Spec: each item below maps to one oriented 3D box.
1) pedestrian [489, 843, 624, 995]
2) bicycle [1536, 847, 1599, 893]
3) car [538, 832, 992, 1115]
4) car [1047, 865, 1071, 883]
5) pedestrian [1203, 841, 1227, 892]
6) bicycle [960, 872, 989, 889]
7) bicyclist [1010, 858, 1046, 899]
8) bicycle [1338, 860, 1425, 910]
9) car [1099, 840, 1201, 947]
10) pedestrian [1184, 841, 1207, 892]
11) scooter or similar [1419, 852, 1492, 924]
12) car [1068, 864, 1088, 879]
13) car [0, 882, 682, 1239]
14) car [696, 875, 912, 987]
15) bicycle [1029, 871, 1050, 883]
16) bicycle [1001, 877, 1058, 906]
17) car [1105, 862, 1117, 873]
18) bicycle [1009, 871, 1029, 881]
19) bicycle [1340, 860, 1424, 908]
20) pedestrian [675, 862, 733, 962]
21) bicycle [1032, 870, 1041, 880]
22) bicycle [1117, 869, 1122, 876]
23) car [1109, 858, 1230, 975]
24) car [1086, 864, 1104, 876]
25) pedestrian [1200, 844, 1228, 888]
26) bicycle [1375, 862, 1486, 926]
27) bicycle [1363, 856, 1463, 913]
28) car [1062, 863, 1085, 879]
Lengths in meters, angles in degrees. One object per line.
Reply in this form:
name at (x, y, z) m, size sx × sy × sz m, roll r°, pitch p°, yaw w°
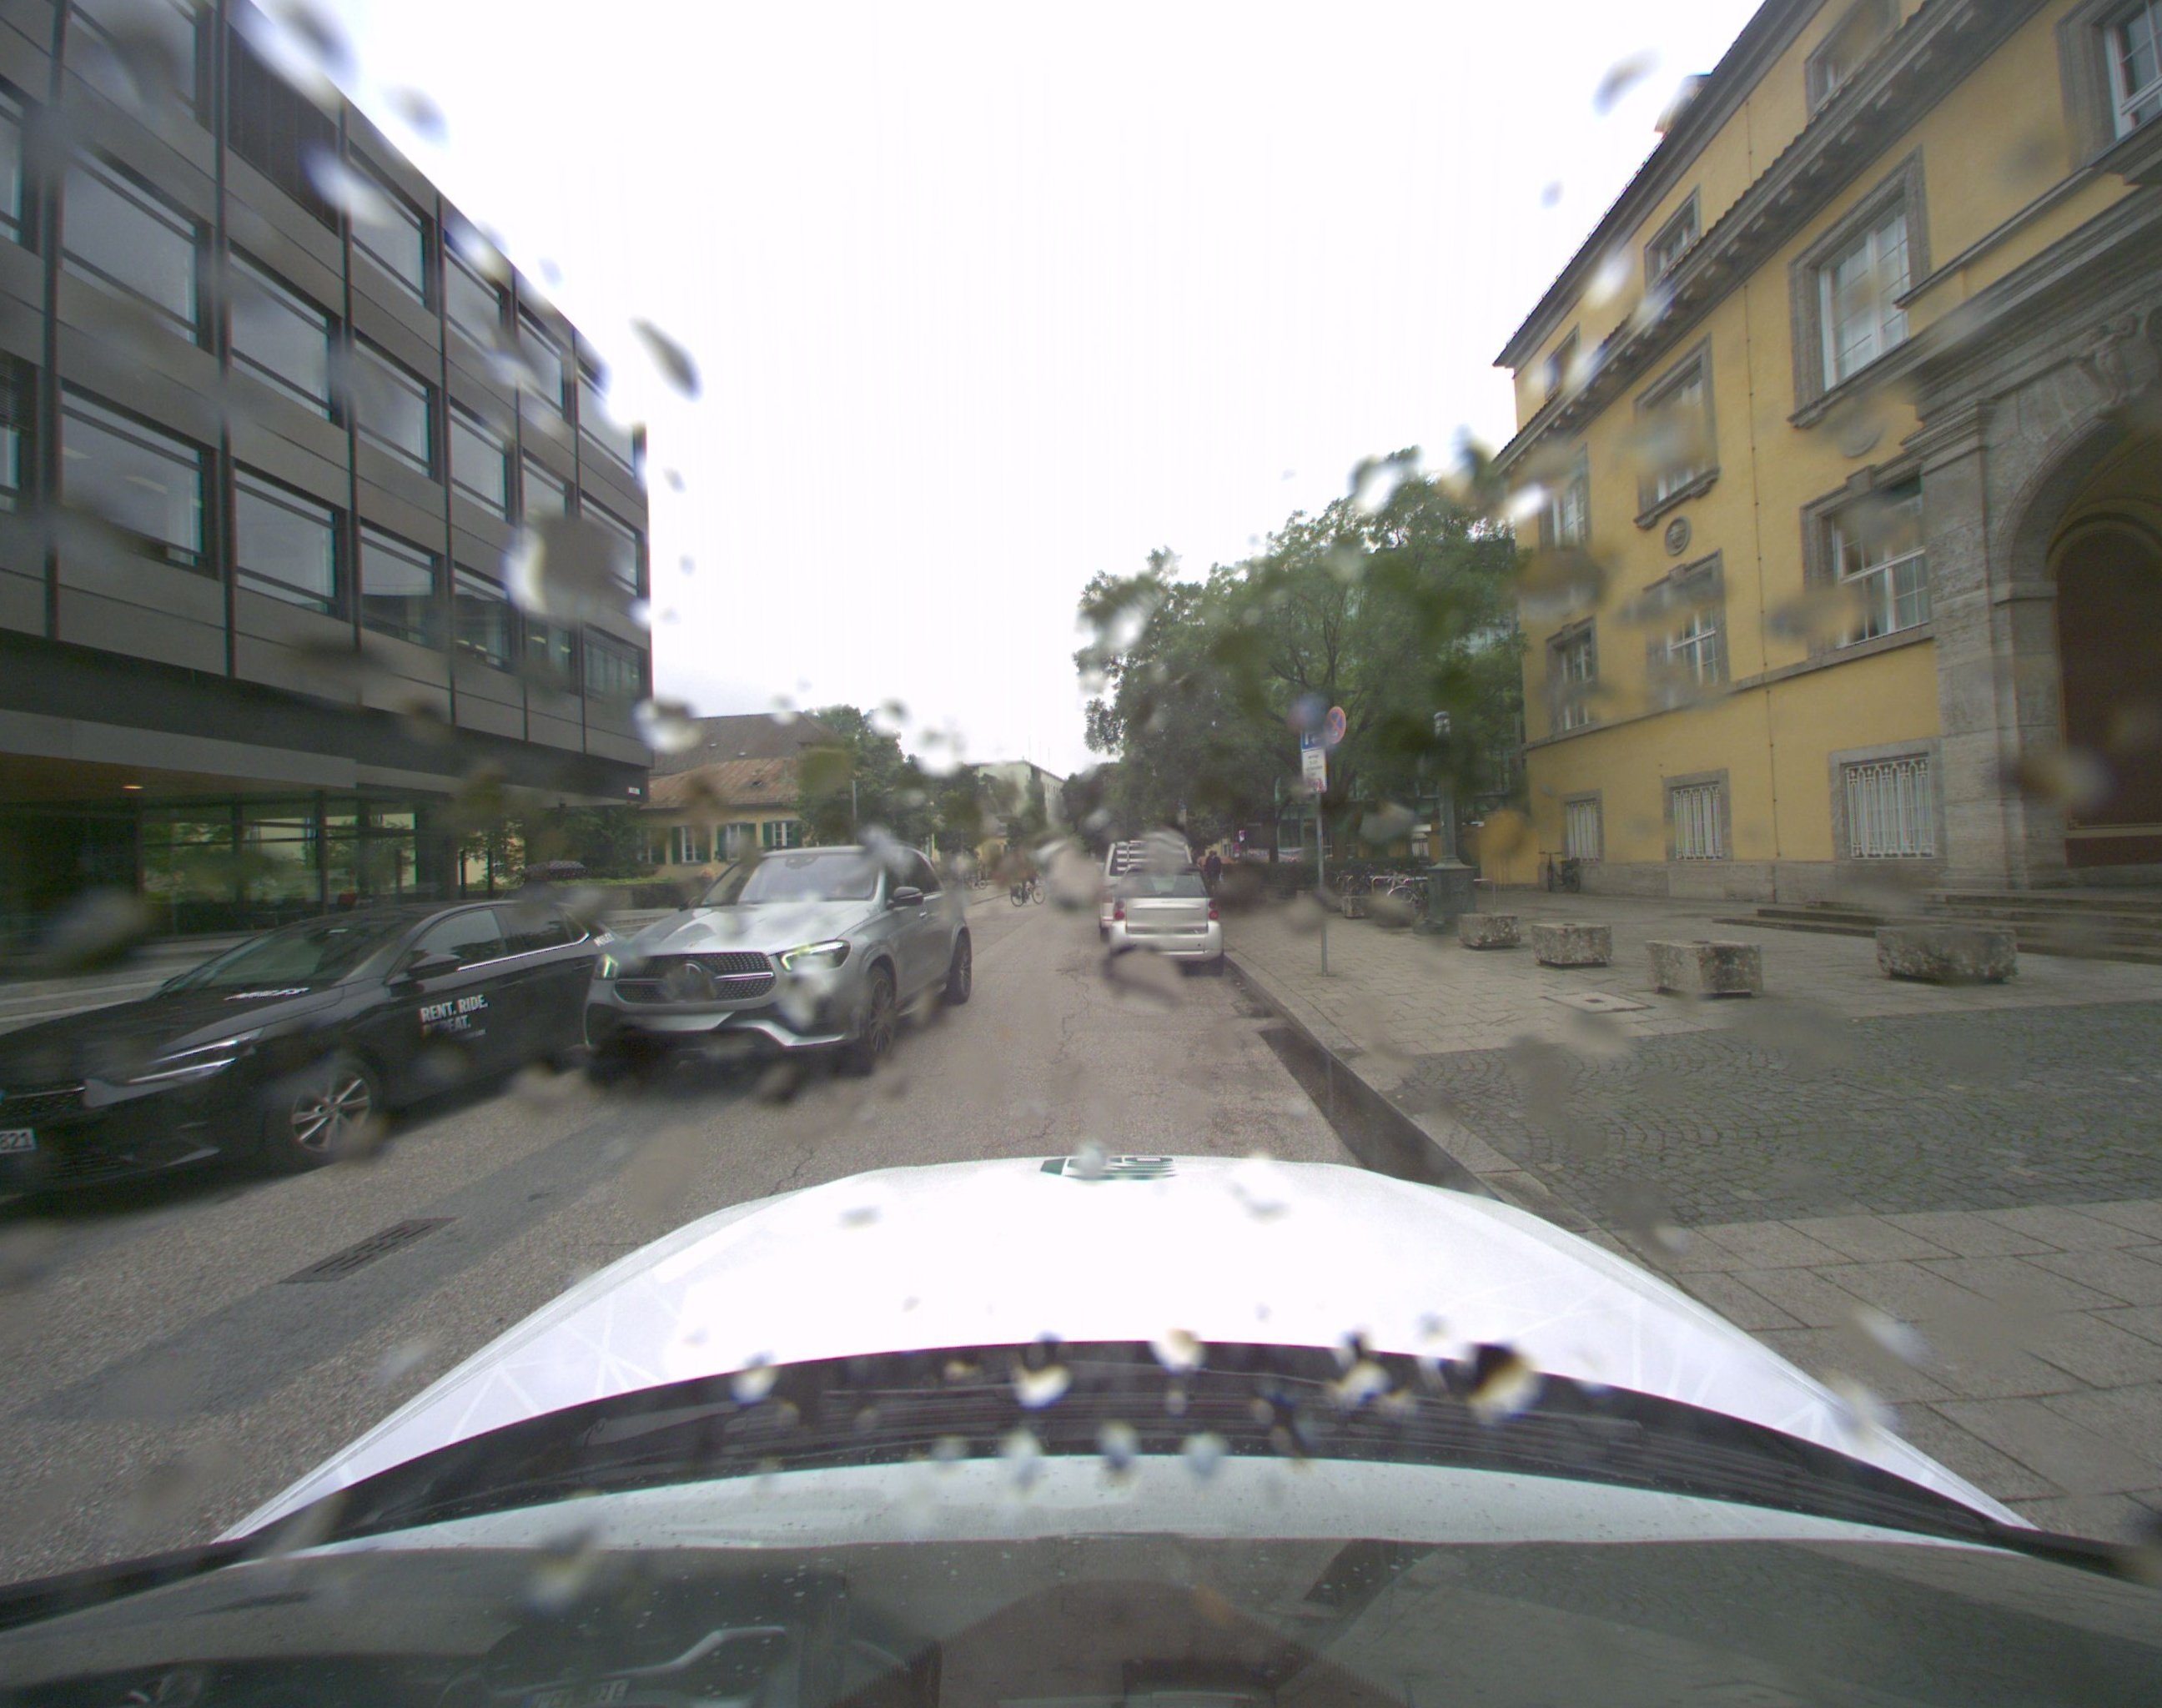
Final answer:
pedestrian at (-7.527, 0.895, 11.754) m, size 1.131 × 2.055 × 1.221 m, roll -1°, pitch -1°, yaw 1°
bicycle at (13.185, 0.418, 22.134) m, size 0.540 × 1.154 × 1.902 m, roll -3°, pitch 0°, yaw 1°
car at (-2.268, 0.776, 7.474) m, size 2.016 × 1.689 × 4.681 m, roll -3°, pitch -1°, yaw 3°
car at (-1.979, 1.831, 75.309) m, size 1.725 × 1.581 × 3.793 m, roll 1°, pitch -1°, yaw 5°
pedestrian at (5.724, 0.531, 34.836) m, size 0.740 × 2.135 × 1.056 m, roll -3°, pitch -1°, yaw 1°
bicycle at (-7.316, 1.815, 56.056) m, size 1.921 × 1.099 × 0.615 m, roll 0°, pitch -1°, yaw 5°
bicyclist at (-1.989, 0.909, 30.565) m, size 1.100 × 1.498 × 0.666 m, roll 0°, pitch -3°, yaw -40°
bicycle at (7.467, 0.770, 20.258) m, size 1.923 × 1.113 × 0.472 m, roll -4°, pitch -1°, yaw 4°
car at (1.316, 0.741, 17.418) m, size 1.838 × 1.933 × 5.273 m, roll 0°, pitch -1°, yaw 1°
pedestrian at (4.955, 0.540, 35.279) m, size 0.740 × 2.135 × 1.056 m, roll -3°, pitch -1°, yaw 1°
scooter or similar at (6.761, 0.616, 14.722) m, size 0.541 × 1.222 × 1.000 m, roll -3°, pitch -1°, yaw -43°
car at (-0.289, 2.025, 92.992) m, size 1.985 × 1.603 × 4.003 m, roll -2°, pitch -2°, yaw 4°
car at (-4.931, 1.052, 5.839) m, size 1.732 × 1.461 × 4.240 m, roll -5°, pitch -1°, yaw 4°
car at (-4.478, 1.165, 14.131) m, size 1.916 × 1.439 × 4.918 m, roll -4°, pitch -1°, yaw 1°
bicycle at (-3.572, 1.989, 70.840) m, size 0.615 × 1.004 × 2.154 m, roll 0°, pitch 0°, yaw 35°
bicycle at (-1.927, 1.404, 30.581) m, size 2.151 × 1.004 × 0.616 m, roll -1°, pitch -3°, yaw -40°
car at (5.296, 2.368, 142.008) m, size 1.802 × 1.683 × 4.005 m, roll -3°, pitch -1°, yaw 4°
bicycle at (-5.722, 2.027, 75.041) m, size 1.620 × 0.926 × 0.646 m, roll -2°, pitch -2°, yaw -23°
bicycle at (7.766, 0.759, 21.041) m, size 1.923 × 1.113 × 0.472 m, roll -4°, pitch -1°, yaw 3°
pedestrian at (-6.980, 1.050, 15.119) m, size 0.754 × 1.749 × 0.948 m, roll -2°, pitch -1°, yaw -14°
bicycle at (-4.789, 2.237, 87.130) m, size 0.618 × 1.004 × 1.622 m, roll -2°, pitch -2°, yaw 8°
bicycle at (5.791, 2.809, 122.554) m, size 0.619 × 1.004 × 2.140 m, roll -2°, pitch -1°, yaw 1°
car at (1.236, 0.848, 12.313) m, size 1.599 × 1.546 × 2.935 m, roll 0°, pitch -1°, yaw 2°
car at (1.878, 2.179, 110.742) m, size 1.983 × 1.486 × 4.007 m, roll -3°, pitch -1°, yaw 7°
pedestrian at (5.884, 0.533, 36.045) m, size 0.735 × 1.907 × 1.062 m, roll -4°, pitch -1°, yaw 37°
bicycle at (6.855, 0.776, 16.009) m, size 1.926 × 1.113 × 0.471 m, roll -4°, pitch -1°, yaw -1°
bicycle at (7.313, 0.671, 17.984) m, size 1.923 × 1.113 × 0.472 m, roll -4°, pitch -1°, yaw 4°
car at (-0.802, 1.838, 87.875) m, size 1.984 × 1.648 × 4.661 m, roll -2°, pitch -1°, yaw 5°
